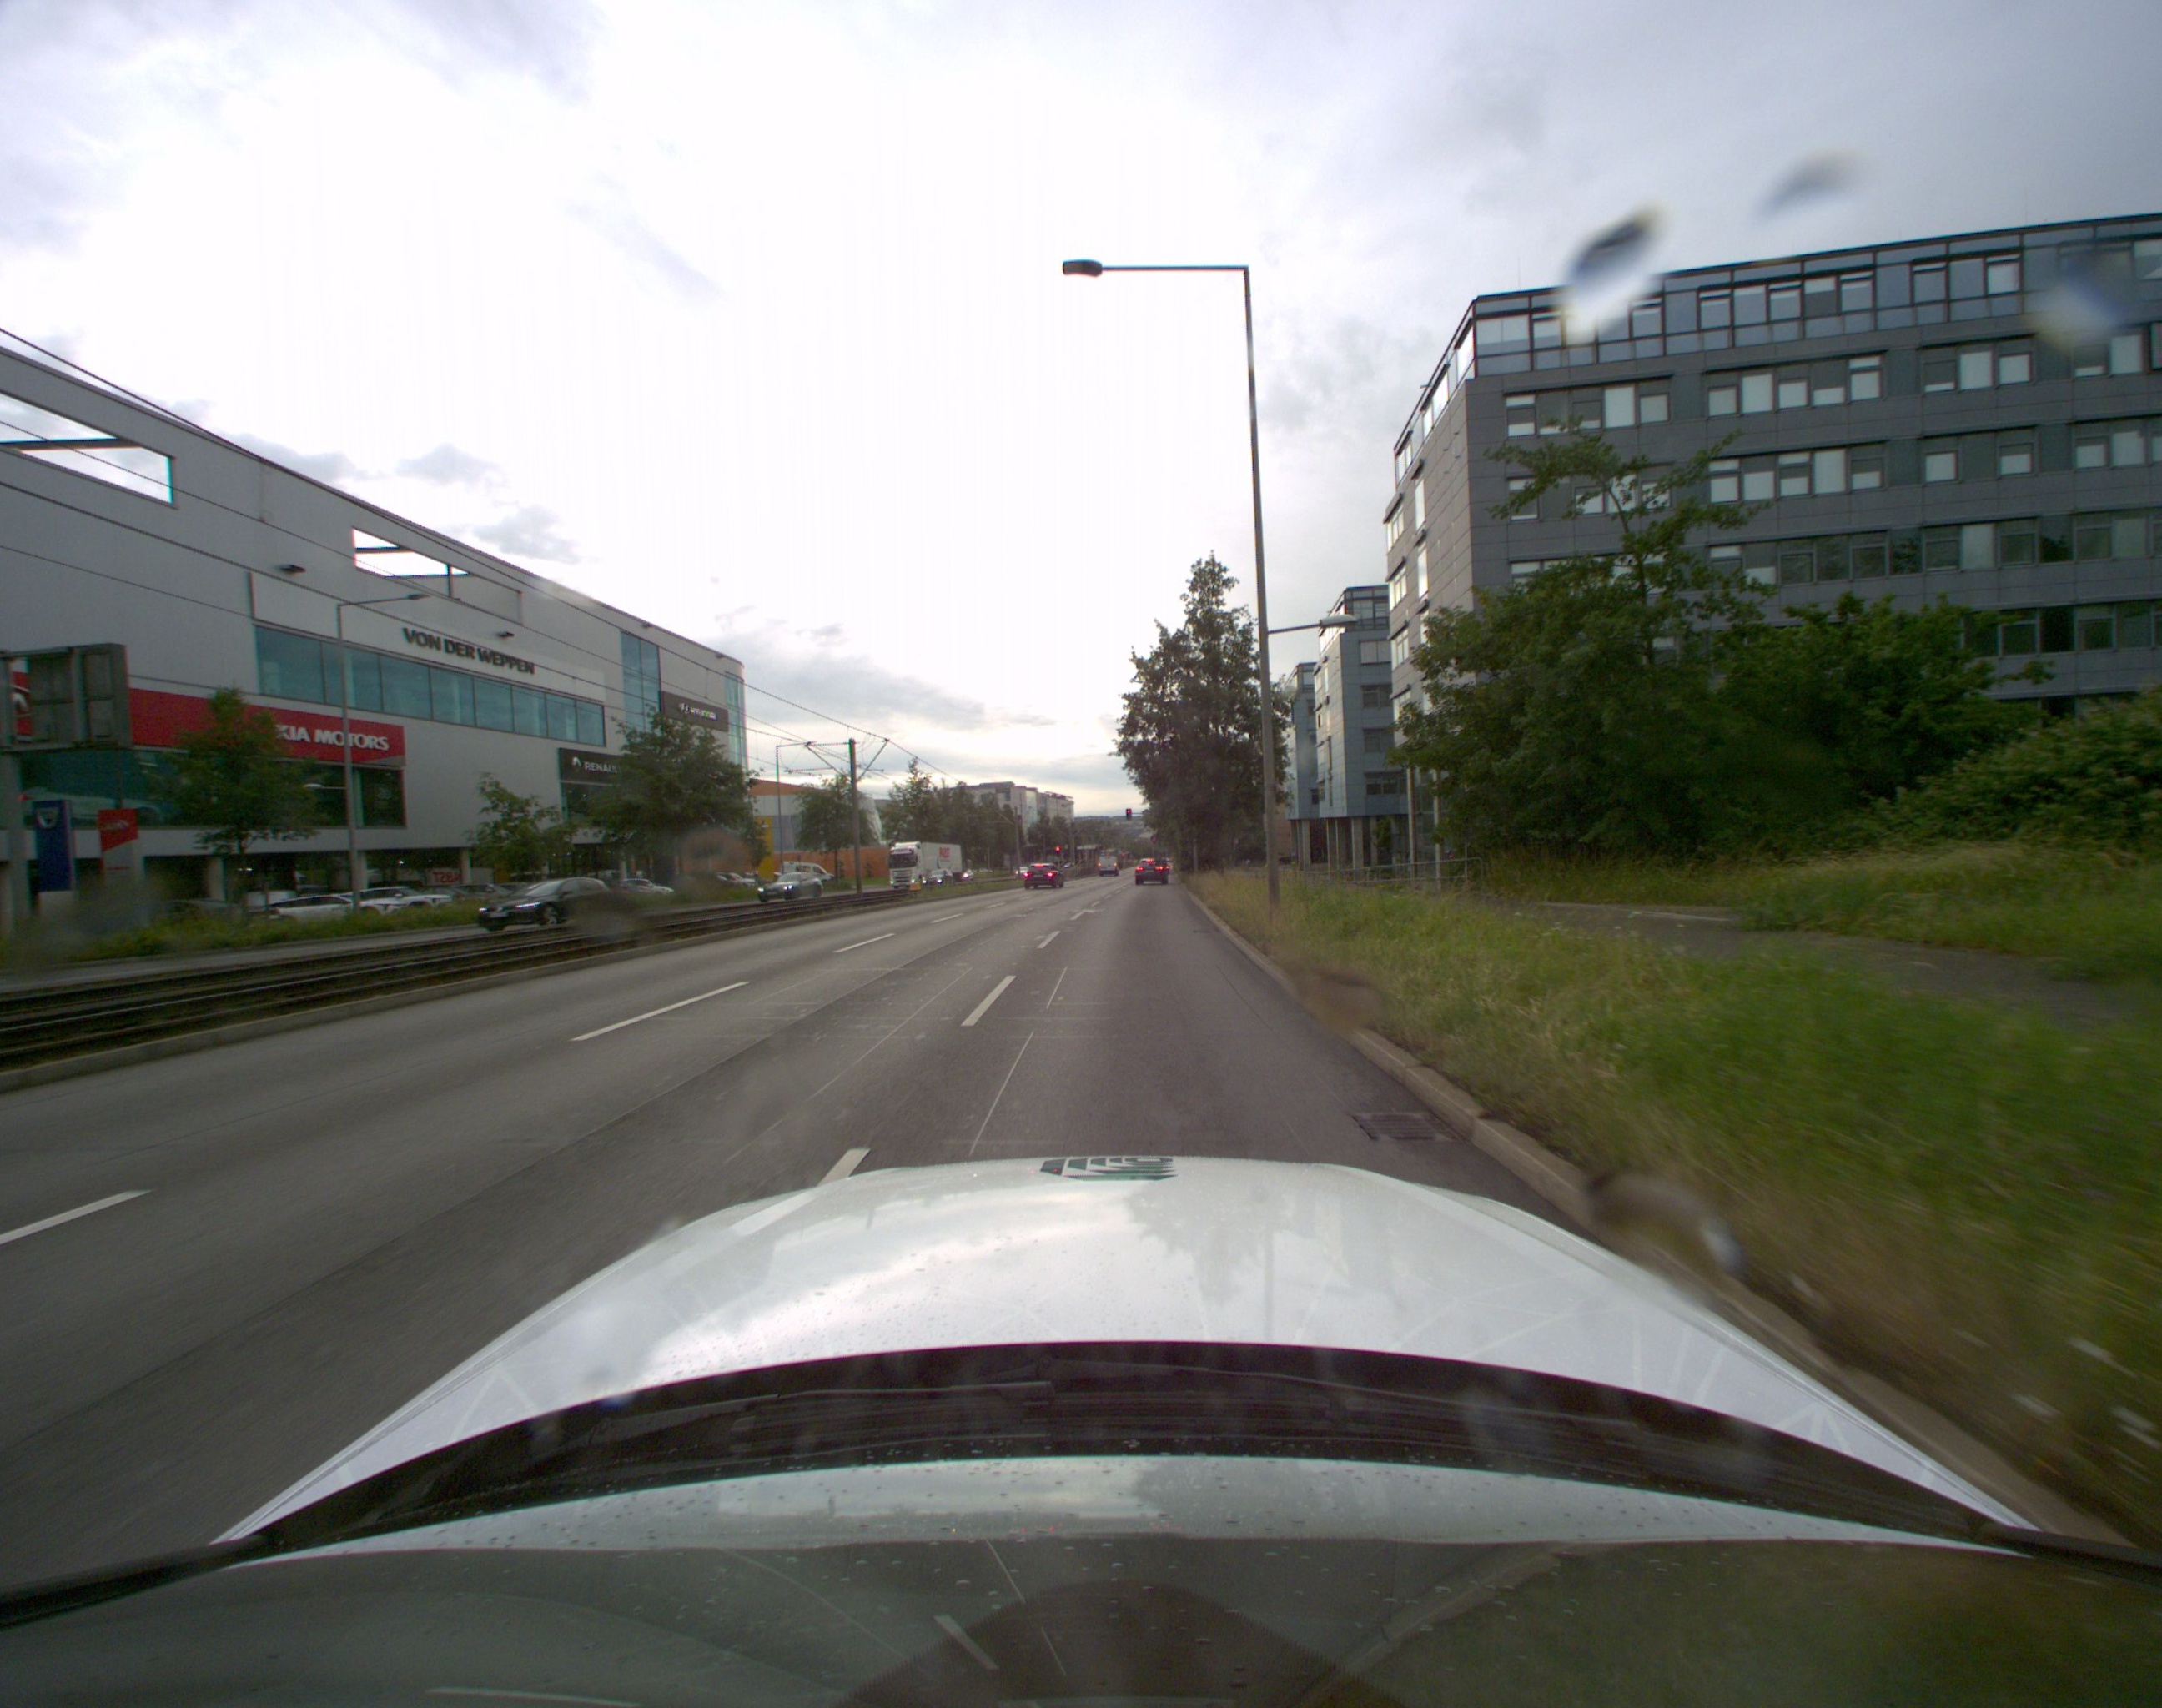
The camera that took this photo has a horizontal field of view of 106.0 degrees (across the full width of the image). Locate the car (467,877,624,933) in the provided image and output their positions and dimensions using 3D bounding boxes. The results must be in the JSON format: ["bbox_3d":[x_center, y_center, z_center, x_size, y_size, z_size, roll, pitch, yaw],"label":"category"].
[{"bbox_3d":[-15.804,1.459,24.322,1.660,1.462,4.242,-1,-1,4],"label":"car"}]

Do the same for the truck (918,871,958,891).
[{"bbox_3d":[-12.382,2.333,70.696,1.931,1.568,4.555,-4,-2,9],"label":"truck"}]

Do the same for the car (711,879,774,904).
[{"bbox_3d":[-29.308,3.228,70.596,4.588,1.976,2.019,-2,-1,-2],"label":"car"}]

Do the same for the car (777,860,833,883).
[{"bbox_3d":[-28.795,1.853,85.264,5.307,2.313,2.011,-1,-1,-12],"label":"car"}]

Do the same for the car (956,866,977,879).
[{"bbox_3d":[-14.474,2.329,103.432,1.654,1.544,3.904,-1,-1,7],"label":"car"}]

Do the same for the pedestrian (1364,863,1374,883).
[{"bbox_3d":[20.208,1.328,57.101,0.500,1.408,0.458,-1,-1,6],"label":"pedestrian"}]

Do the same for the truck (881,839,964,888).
[{"bbox_3d":[-14.960,0.756,79.271,3.027,4.180,17.229,-1,0,6],"label":"truck"}]

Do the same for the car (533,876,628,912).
[{"bbox_3d":[-31.110,2.448,50.745,4.613,1.976,2.008,-2,-1,-17],"label":"car"}]

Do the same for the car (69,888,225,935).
[{"bbox_3d":[-45.126,2.727,39.561,1.987,1.910,4.844,-1,0,0],"label":"car"}]

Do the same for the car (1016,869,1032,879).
[{"bbox_3d":[-8.019,2.802,114.966,1.655,1.442,3.901,-1,-1,5],"label":"car"}]

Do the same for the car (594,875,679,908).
[{"bbox_3d":[-30.485,2.560,55.952,4.598,1.976,2.015,-2,-1,-8],"label":"car"}]

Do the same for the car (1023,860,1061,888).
[{"bbox_3d":[-2.200,1.104,47.148,1.779,1.413,4.809,-1,1,3],"label":"car"}]

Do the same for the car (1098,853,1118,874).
[{"bbox_3d":[3.100,1.120,95.401,2.260,2.284,4.760,-1,0,1],"label":"car"}]

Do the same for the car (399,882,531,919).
[{"bbox_3d":[-31.947,2.383,42.423,5.012,1.654,2.009,-2,-1,-16],"label":"car"}]

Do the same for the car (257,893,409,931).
[{"bbox_3d":[-31.571,2.415,34.541,4.339,1.307,1.858,-2,-1,-22],"label":"car"}]

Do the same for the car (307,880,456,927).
[{"bbox_3d":[-31.587,2.194,36.938,4.631,1.827,2.009,-2,-1,-15],"label":"car"}]

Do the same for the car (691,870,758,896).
[{"bbox_3d":[-29.396,2.370,67.265,4.588,1.976,2.019,-2,-1,-2],"label":"car"}]

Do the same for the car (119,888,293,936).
[{"bbox_3d":[-37.113,2.410,34.740,4.654,1.664,2.000,-2,-1,-32],"label":"car"}]

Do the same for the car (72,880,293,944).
[{"bbox_3d":[-32.060,2.005,29.242,4.964,1.933,2.009,-2,-1,-16],"label":"car"}]

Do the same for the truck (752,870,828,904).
[{"bbox_3d":[-14.854,1.650,41.850,1.933,1.568,4.597,-4,-1,4],"label":"truck"}]

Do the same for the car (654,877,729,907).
[{"bbox_3d":[-29.289,2.868,61.293,4.588,1.976,2.019,-2,-1,-2],"label":"car"}]

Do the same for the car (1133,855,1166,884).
[{"bbox_3d":[4.330,0.963,51.899,1.915,1.710,4.101,-1,1,2],"label":"car"}]

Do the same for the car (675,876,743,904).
[{"bbox_3d":[-29.252,2.844,64.132,4.335,1.976,1.873,-2,-1,-2],"label":"car"}]
